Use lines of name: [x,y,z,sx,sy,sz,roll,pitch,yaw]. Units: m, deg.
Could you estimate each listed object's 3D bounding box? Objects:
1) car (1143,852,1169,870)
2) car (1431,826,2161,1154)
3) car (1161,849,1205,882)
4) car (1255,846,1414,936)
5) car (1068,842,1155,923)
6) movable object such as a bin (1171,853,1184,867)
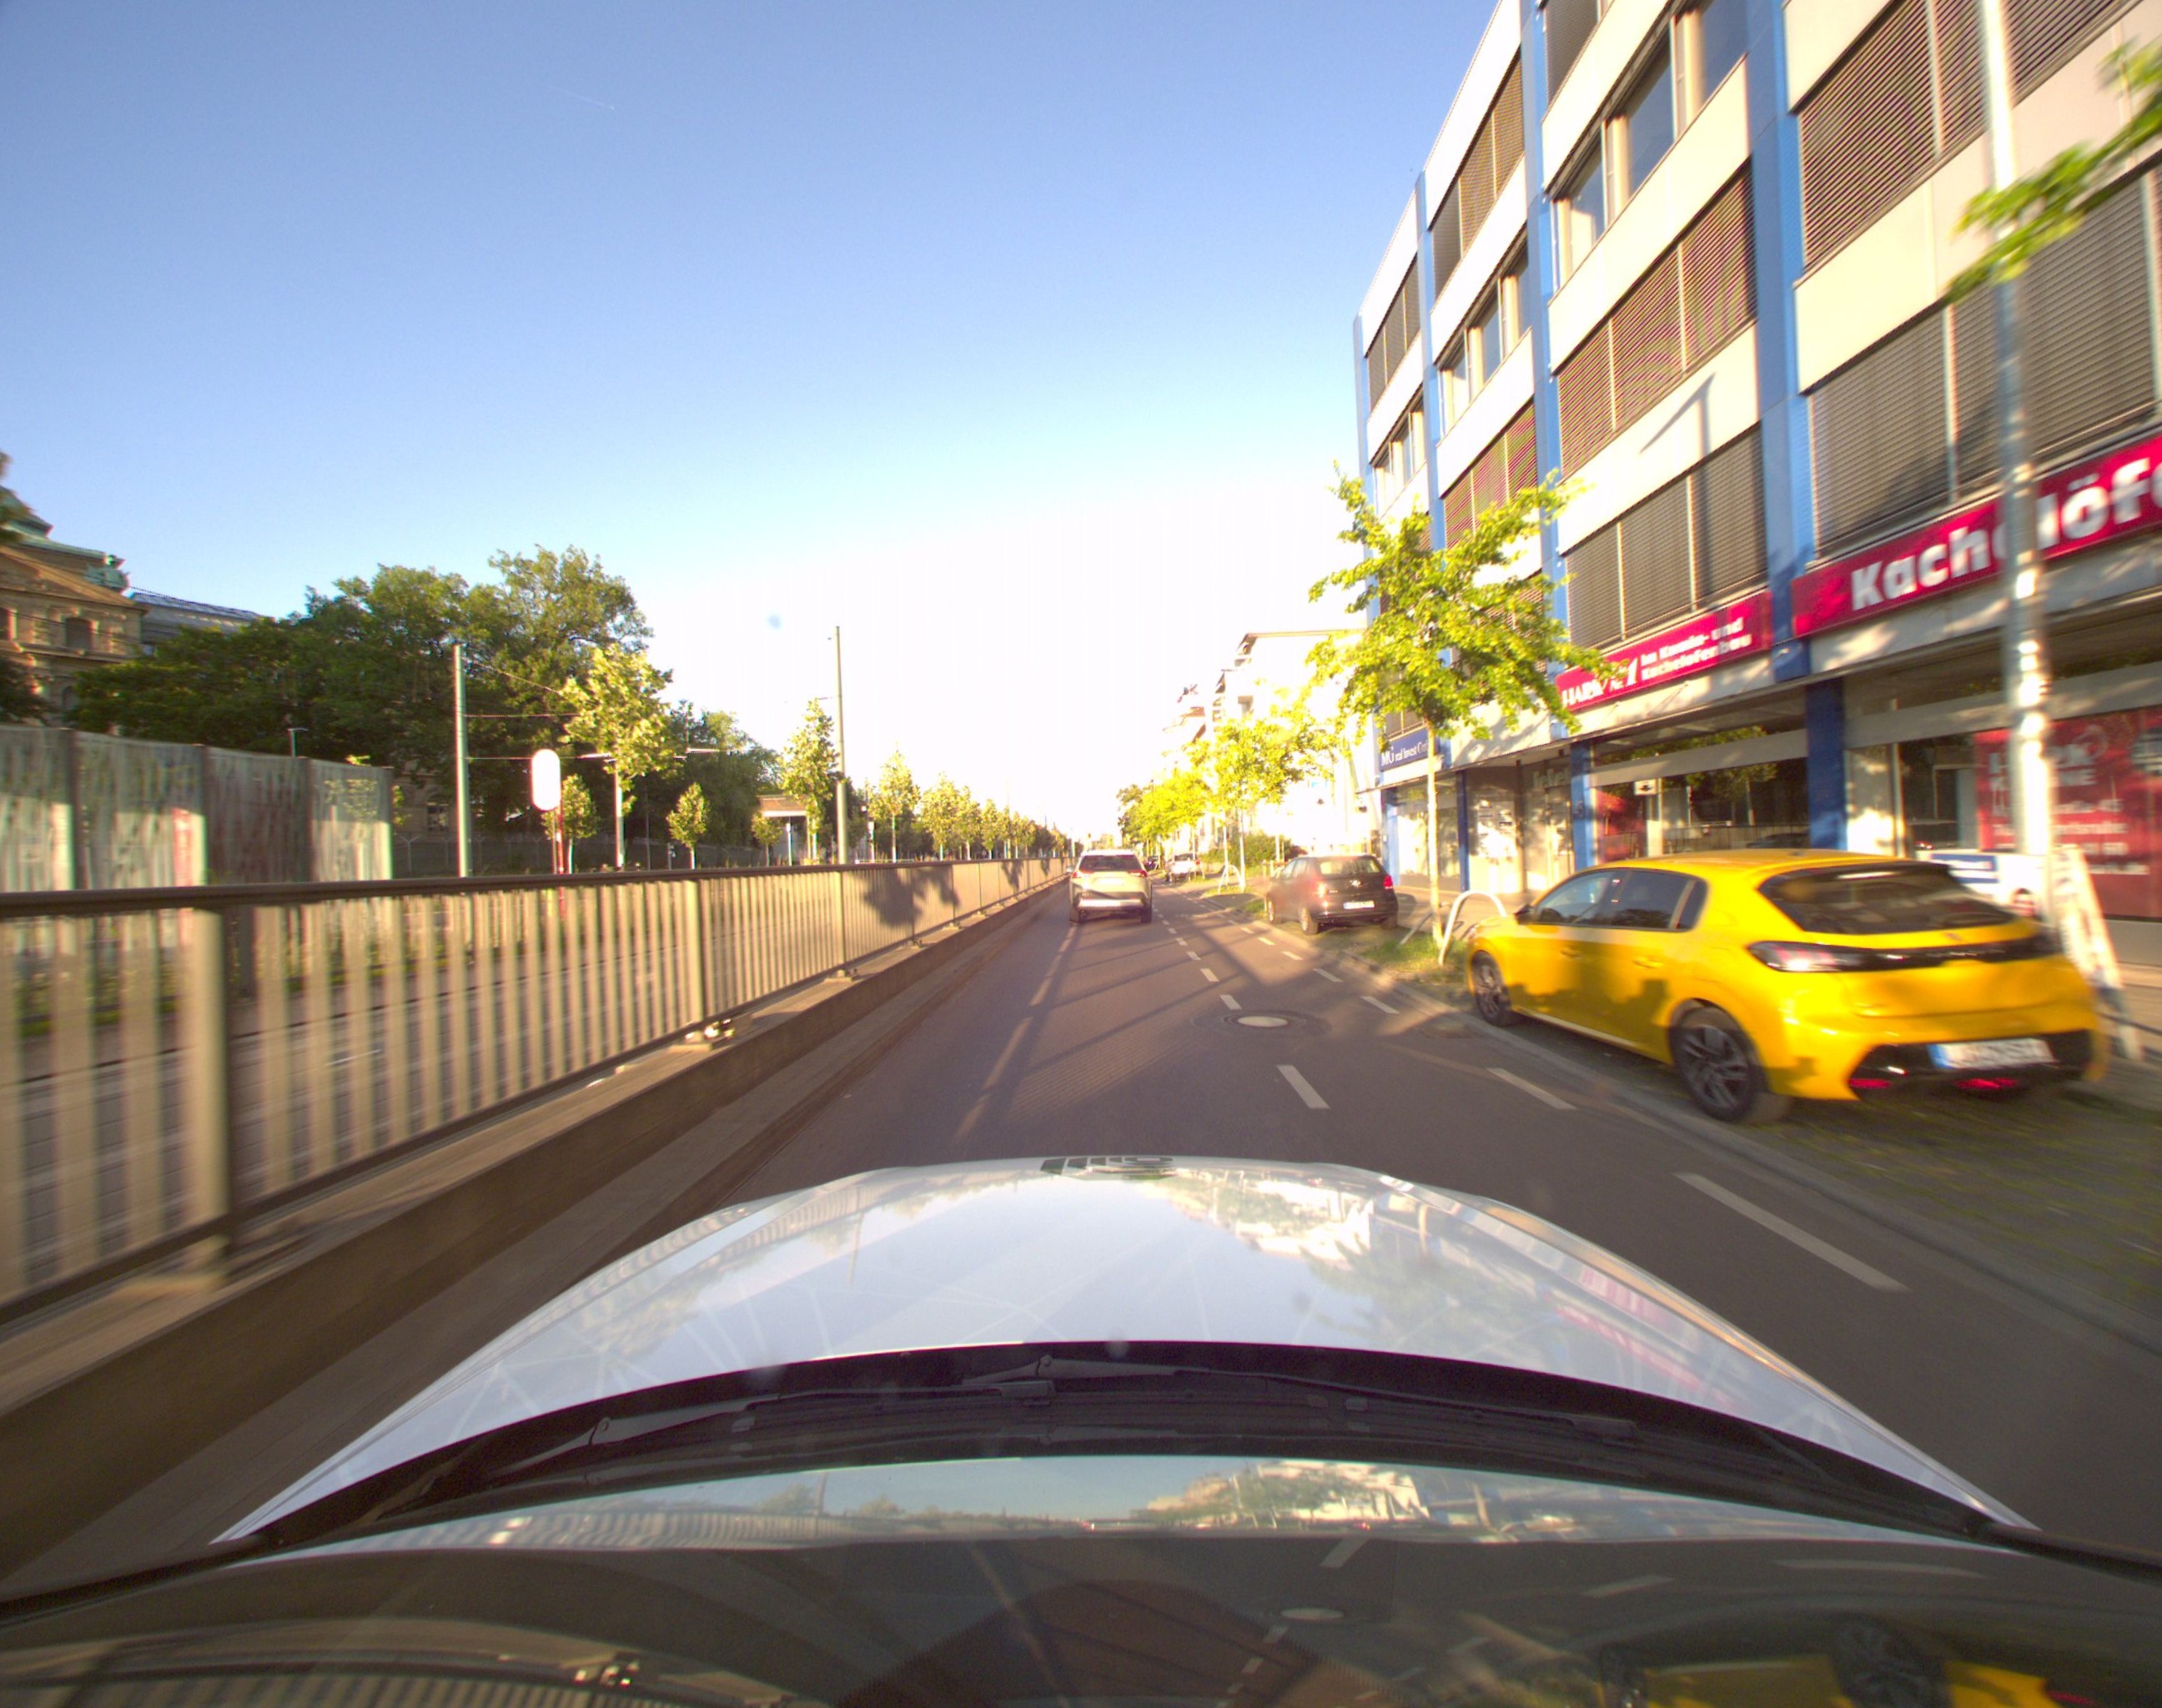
car: [6.873,0.632,74.649,1.787,1.471,4.443,-5,0,-1]
car: [4.306,0.656,5.925,1.678,1.454,4.129,-3,0,0]
car: [5.630,0.613,45.293,1.848,1.706,4.253,-2,0,0]
car: [4.819,0.646,16.128,1.813,1.454,4.128,-3,0,0]
car: [0.663,0.625,19.500,1.852,1.714,4.192,0,-1,0]
movable object such as a bin: [10.749,0.639,90.475,1.256,1.462,1.123,-2,-1,-2]
